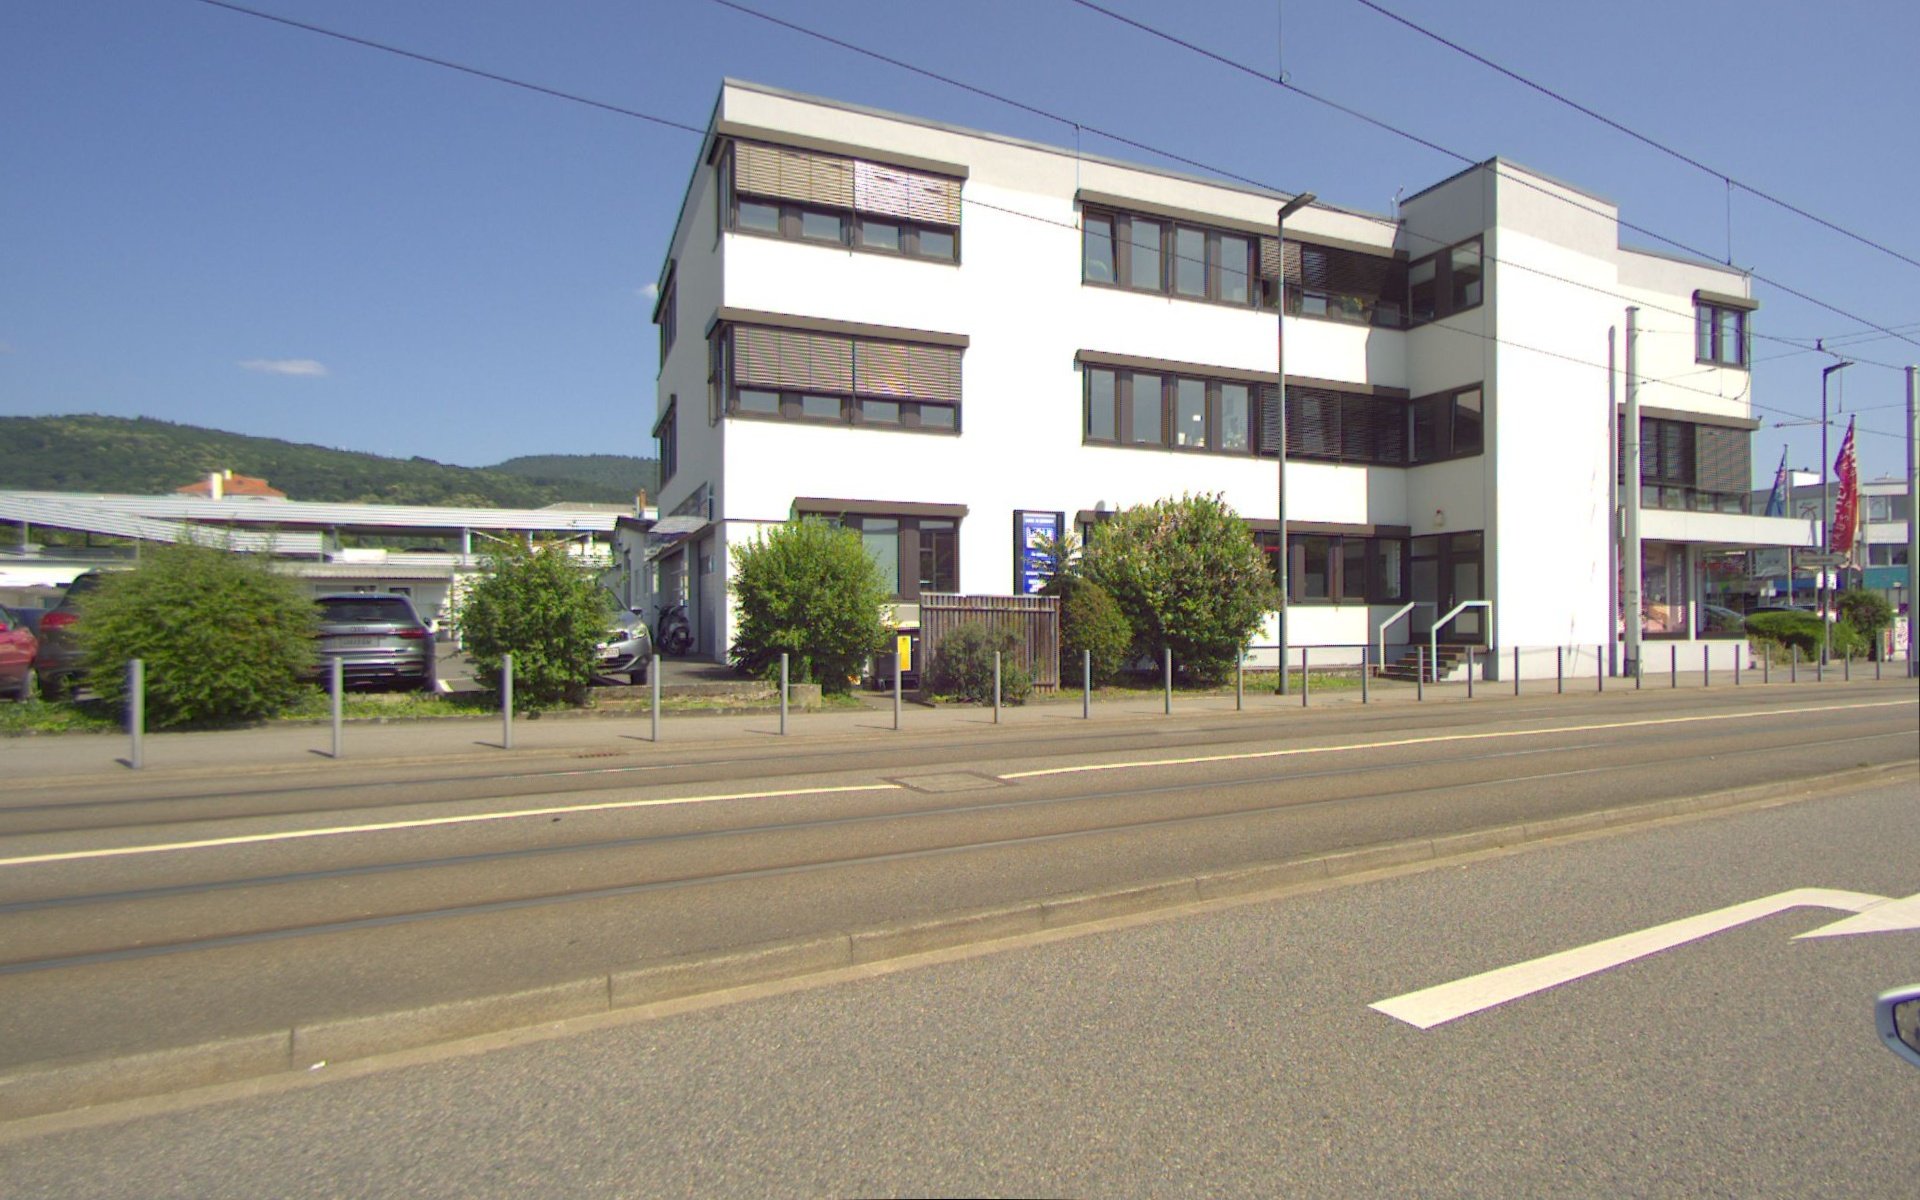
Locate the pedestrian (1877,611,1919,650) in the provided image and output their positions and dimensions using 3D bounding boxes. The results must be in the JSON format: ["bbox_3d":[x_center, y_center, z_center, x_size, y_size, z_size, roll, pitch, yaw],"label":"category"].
[{"bbox_3d":[36.191,1.172,38.723,0.830,1.474,1.121,1,-1,-38],"label":"pedestrian"}]

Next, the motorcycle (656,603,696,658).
[{"bbox_3d":[-6.289,0.654,22.191,0.530,1.149,1.700,-3,1,-24],"label":"motorcycle"}]

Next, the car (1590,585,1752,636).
[{"bbox_3d":[23.585,0.349,33.463,1.974,1.584,3.974,1,-1,-26],"label":"car"}]

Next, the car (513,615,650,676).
[{"bbox_3d":[-9.383,1.120,24.963,3.087,1.445,1.414,1,-2,-23],"label":"car"}]

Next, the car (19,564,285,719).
[{"bbox_3d":[-10.510,0.489,13.435,1.975,1.728,3.972,1,-1,-27],"label":"car"}]

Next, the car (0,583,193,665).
[{"bbox_3d":[-23.303,0.629,26.447,4.516,2.040,2.046,1,-1,-24],"label":"car"}]

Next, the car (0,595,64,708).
[{"bbox_3d":[-12.666,0.620,12.161,1.725,1.388,3.811,1,-1,-26],"label":"car"}]

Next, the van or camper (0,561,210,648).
[{"bbox_3d":[-24.516,0.150,28.776,4.542,2.336,1.770,1,0,-26],"label":"van or camper"}]

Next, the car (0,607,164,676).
[{"bbox_3d":[-22.131,0.979,24.096,4.363,1.578,1.981,1,-2,-24],"label":"car"}]

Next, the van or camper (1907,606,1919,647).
[{"bbox_3d":[50.718,1.401,51.607,1.965,2.040,4.751,-1,1,31],"label":"van or camper"}]

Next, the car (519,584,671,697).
[{"bbox_3d":[-5.804,0.579,15.729,1.459,1.549,3.602,1,-1,-33],"label":"car"}]

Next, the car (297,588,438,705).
[{"bbox_3d":[-8.497,0.684,14.296,1.532,1.440,3.367,1,-4,-34],"label":"car"}]

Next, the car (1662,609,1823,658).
[{"bbox_3d":[27.158,1.106,35.012,1.973,1.539,3.974,-2,0,-26],"label":"car"}]
